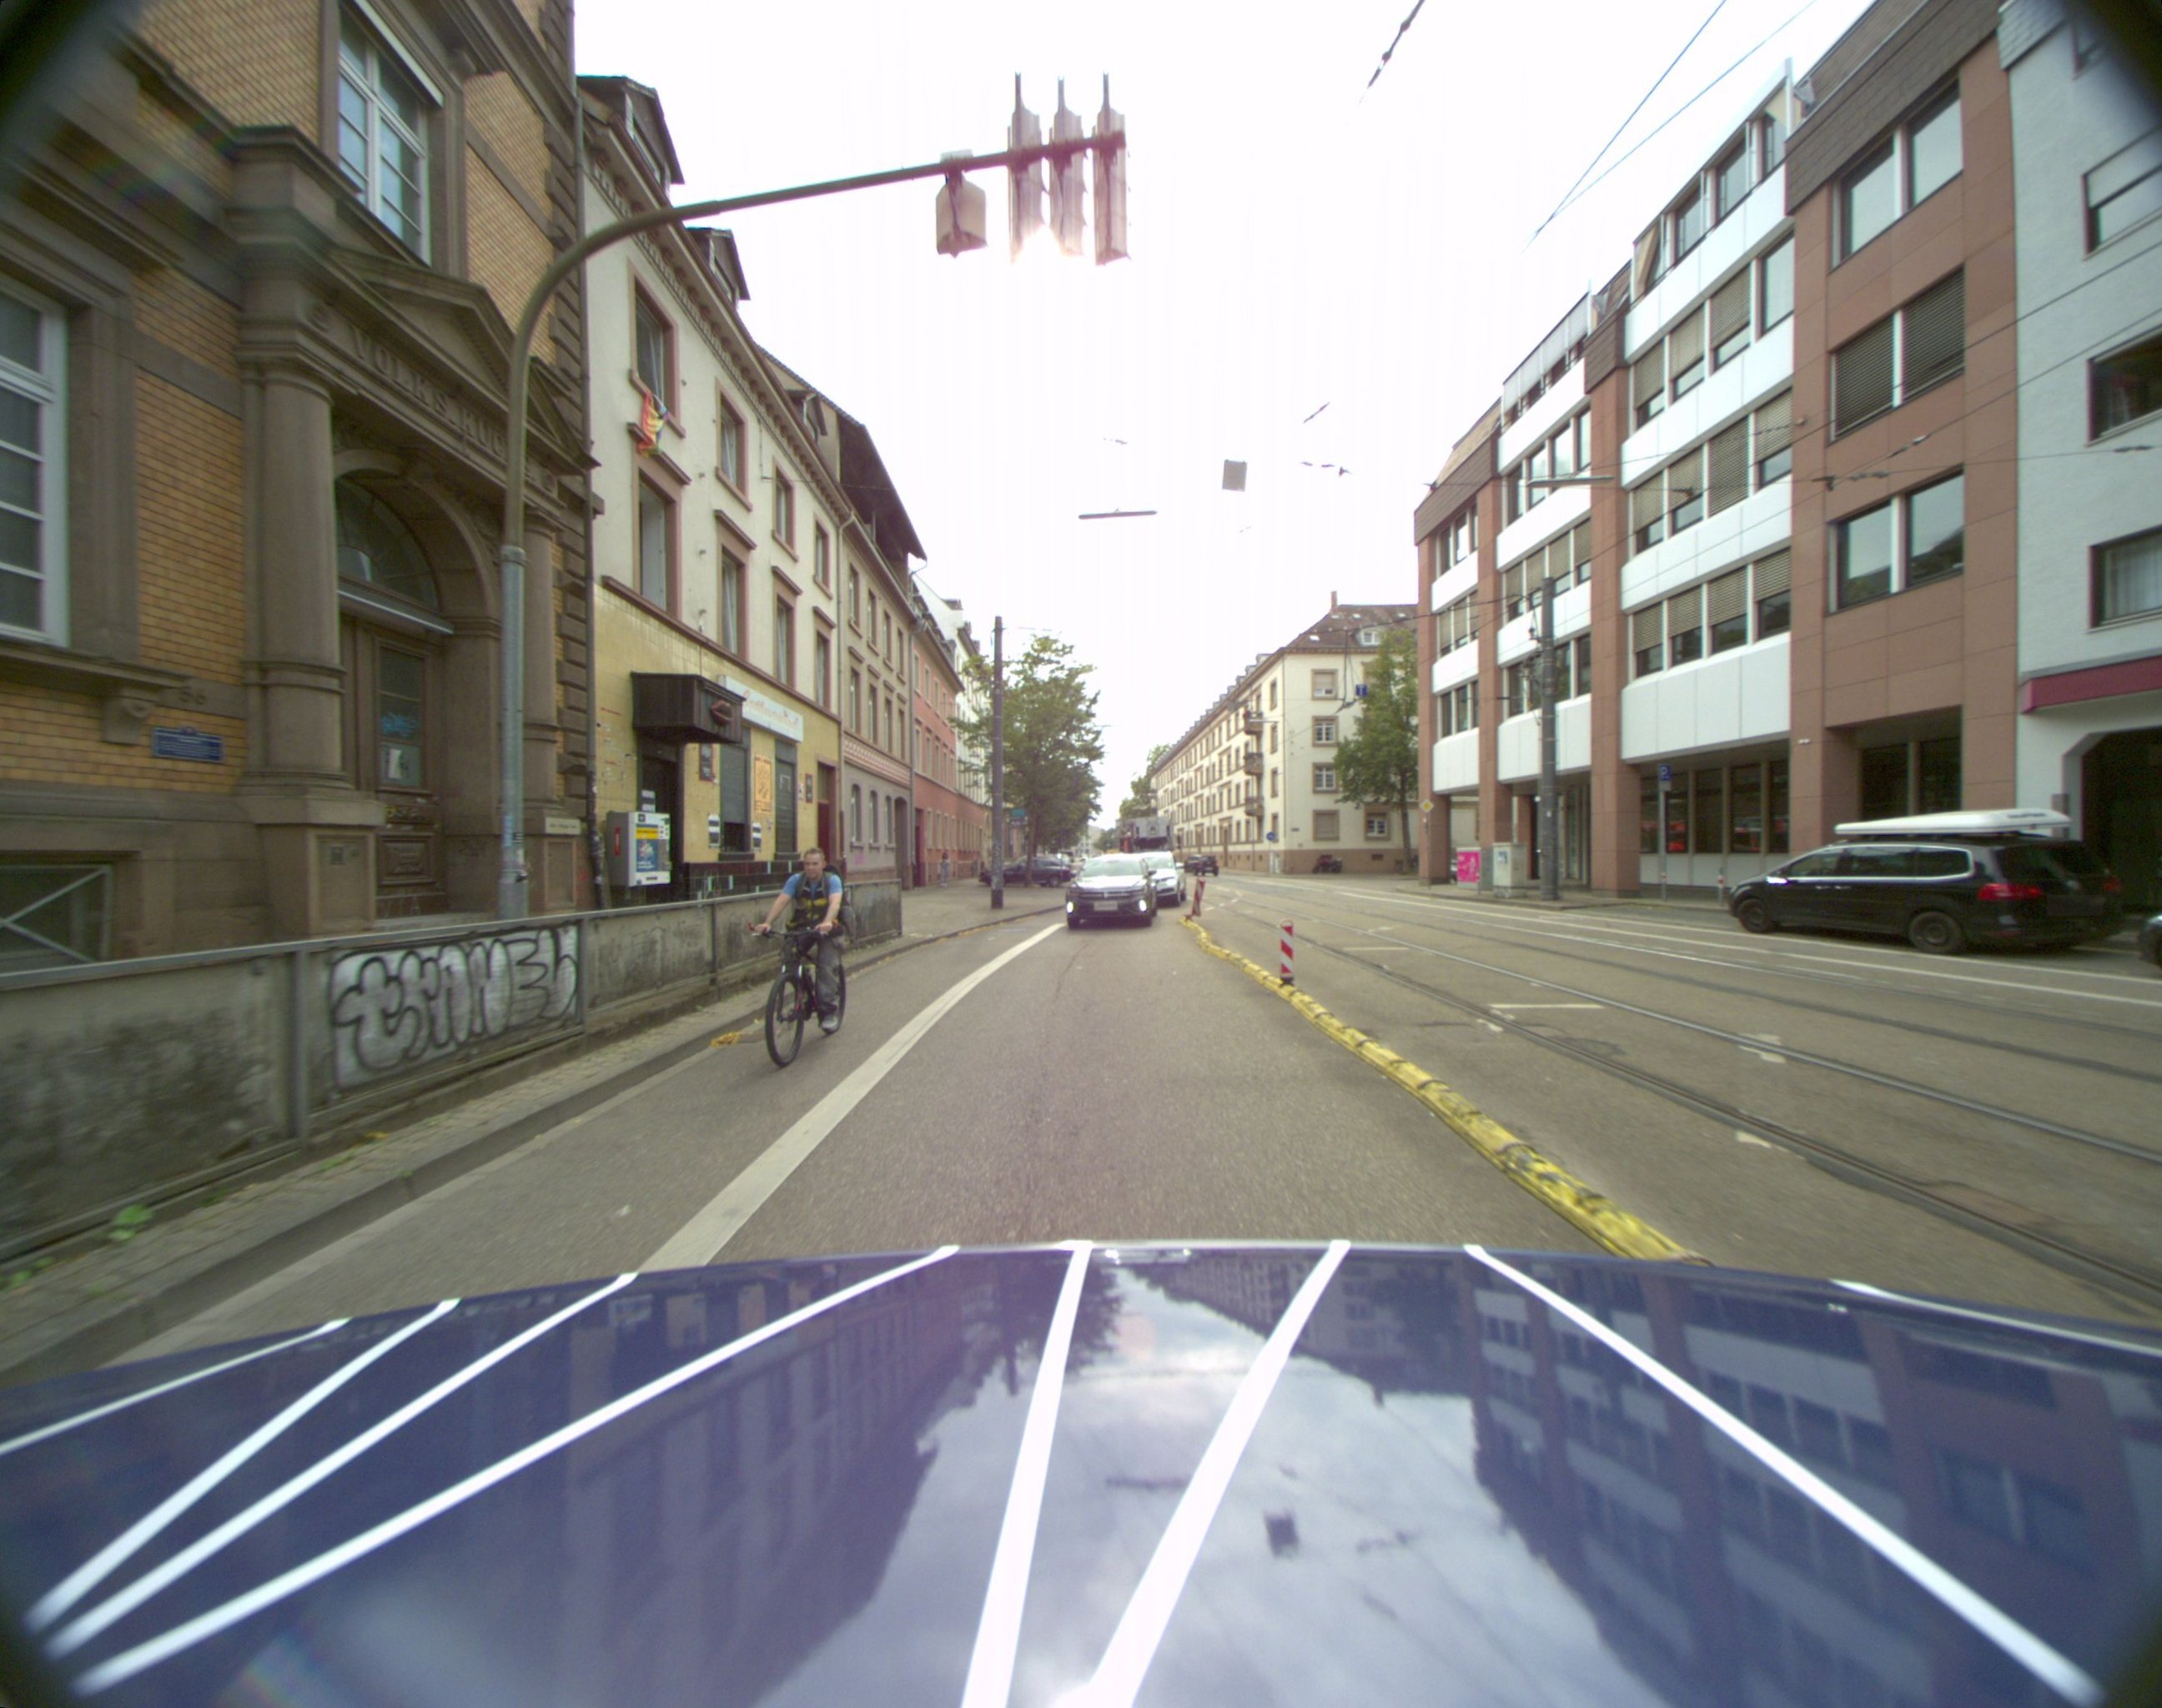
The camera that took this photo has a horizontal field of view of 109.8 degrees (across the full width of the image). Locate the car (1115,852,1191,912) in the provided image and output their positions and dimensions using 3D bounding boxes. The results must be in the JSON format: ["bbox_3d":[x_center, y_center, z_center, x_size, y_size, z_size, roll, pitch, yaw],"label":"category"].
[{"bbox_3d":[2.290,0.786,23.109,1.772,1.582,4.285,-2,0,12],"label":"car"}]

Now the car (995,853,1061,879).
[{"bbox_3d":[-3.671,0.823,52.538,4.245,1.688,1.736,1,0,-23],"label":"car"}]

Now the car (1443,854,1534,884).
[{"bbox_3d":[19.917,0.699,37.193,3.649,1.380,1.611,-1,0,-8],"label":"car"}]

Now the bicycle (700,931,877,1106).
[{"bbox_3d":[-2.288,1.243,6.219,0.714,1.012,1.800,-2,0,0],"label":"bicycle"}]

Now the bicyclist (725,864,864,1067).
[{"bbox_3d":[-2.297,0.850,6.211,0.715,1.498,0.918,-3,0,-1],"label":"bicyclist"}]

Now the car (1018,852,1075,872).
[{"bbox_3d":[-3.078,0.712,67.647,4.634,1.688,1.913,1,0,-23],"label":"car"}]

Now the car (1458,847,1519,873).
[{"bbox_3d":[24.648,0.350,46.073,1.611,1.538,3.716,-1,0,-1],"label":"car"}]

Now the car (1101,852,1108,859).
[{"bbox_3d":[6.094,0.433,196.663,1.899,1.806,4.000,-1,0,2],"label":"car"}]

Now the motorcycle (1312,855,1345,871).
[{"bbox_3d":[16.481,0.589,50.585,1.924,1.080,0.793,-1,1,0],"label":"motorcycle"}]

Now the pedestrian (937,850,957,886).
[{"bbox_3d":[-6.454,0.664,36.585,0.732,1.678,0.926,3,1,0],"label":"pedestrian"}]

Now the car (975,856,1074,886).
[{"bbox_3d":[-2.856,0.839,38.419,4.634,1.464,1.786,1,0,-23],"label":"car"}]

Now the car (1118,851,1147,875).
[{"bbox_3d":[3.825,0.633,57.212,1.998,1.698,4.053,-1,0,2],"label":"car"}]

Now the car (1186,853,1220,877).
[{"bbox_3d":[8.393,0.756,52.644,1.773,1.528,4.049,-2,0,2],"label":"car"}]

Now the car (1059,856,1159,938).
[{"bbox_3d":[0.762,0.868,17.161,1.772,1.538,4.284,-2,0,8],"label":"car"}]

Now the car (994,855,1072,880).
[{"bbox_3d":[-2.871,0.817,45.609,4.351,1.471,1.786,1,0,-23],"label":"car"}]

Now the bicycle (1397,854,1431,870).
[{"bbox_3d":[22.202,0.526,50.717,1.924,1.080,0.793,-1,1,0],"label":"bicycle"}]

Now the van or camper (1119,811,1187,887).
[{"bbox_3d":[3.529,-0.242,39.565,2.607,3.401,9.651,-1,0,0],"label":"van or camper"}]

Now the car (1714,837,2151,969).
[{"bbox_3d":[13.131,0.638,12.317,1.811,1.637,4.698,-3,0,0],"label":"car"}]

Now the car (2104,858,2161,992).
[{"bbox_3d":[12.905,0.774,6.577,1.759,1.471,4.698,-3,0,0],"label":"car"}]
